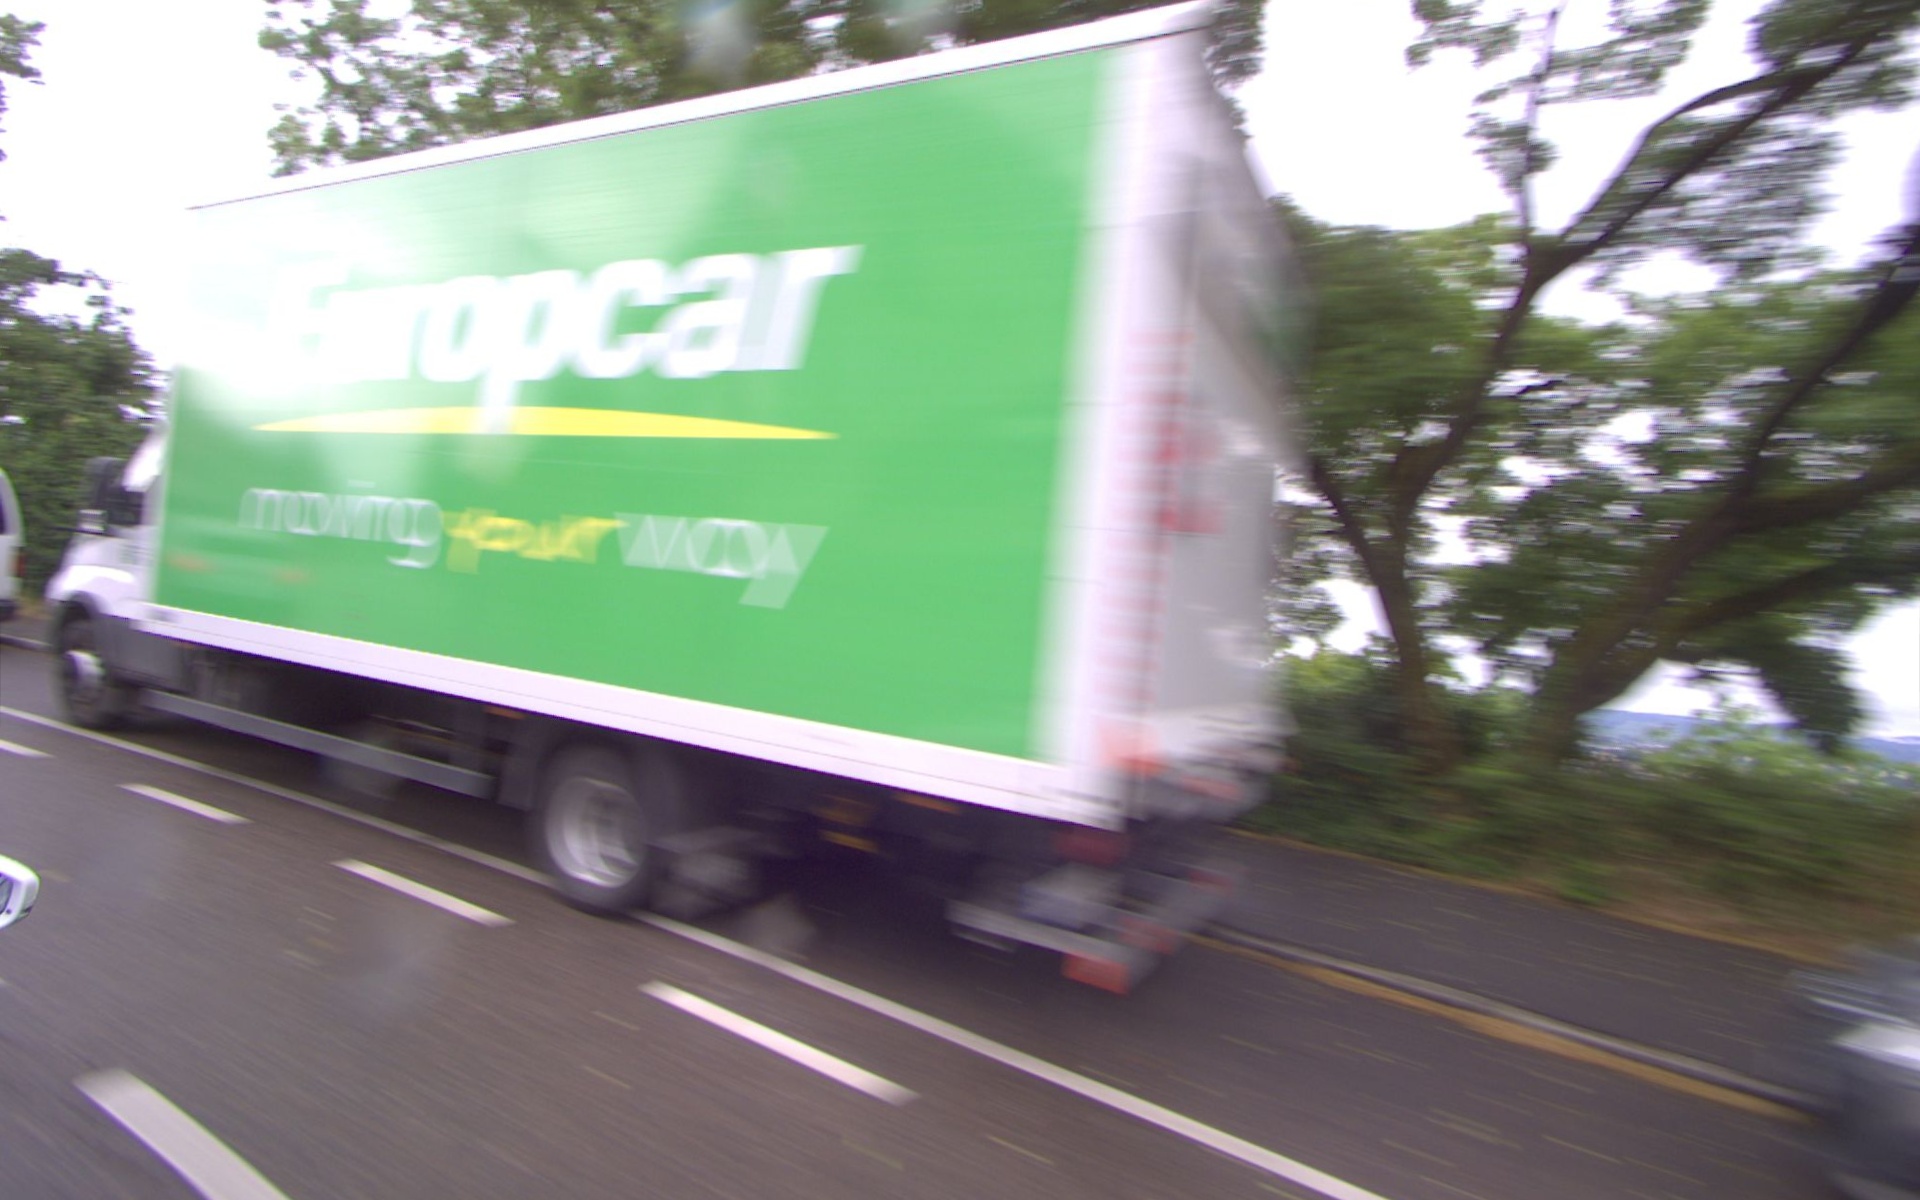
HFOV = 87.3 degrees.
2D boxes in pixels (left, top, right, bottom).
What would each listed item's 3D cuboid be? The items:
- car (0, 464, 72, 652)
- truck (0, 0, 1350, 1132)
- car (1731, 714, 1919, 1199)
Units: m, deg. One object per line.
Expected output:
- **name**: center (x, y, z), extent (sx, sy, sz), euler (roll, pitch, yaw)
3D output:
- **car**: center (-11.312, -0.674, 9.630), extent (4.295, 1.792, 1.867), euler (7, 0, 11)
- **truck**: center (-2.588, -0.525, 6.213), extent (8.777, 3.513, 2.779), euler (7, 0, 27)
- **car**: center (4.150, 1.294, 1.955), extent (4.074, 1.521, 1.733), euler (6, -1, 38)
